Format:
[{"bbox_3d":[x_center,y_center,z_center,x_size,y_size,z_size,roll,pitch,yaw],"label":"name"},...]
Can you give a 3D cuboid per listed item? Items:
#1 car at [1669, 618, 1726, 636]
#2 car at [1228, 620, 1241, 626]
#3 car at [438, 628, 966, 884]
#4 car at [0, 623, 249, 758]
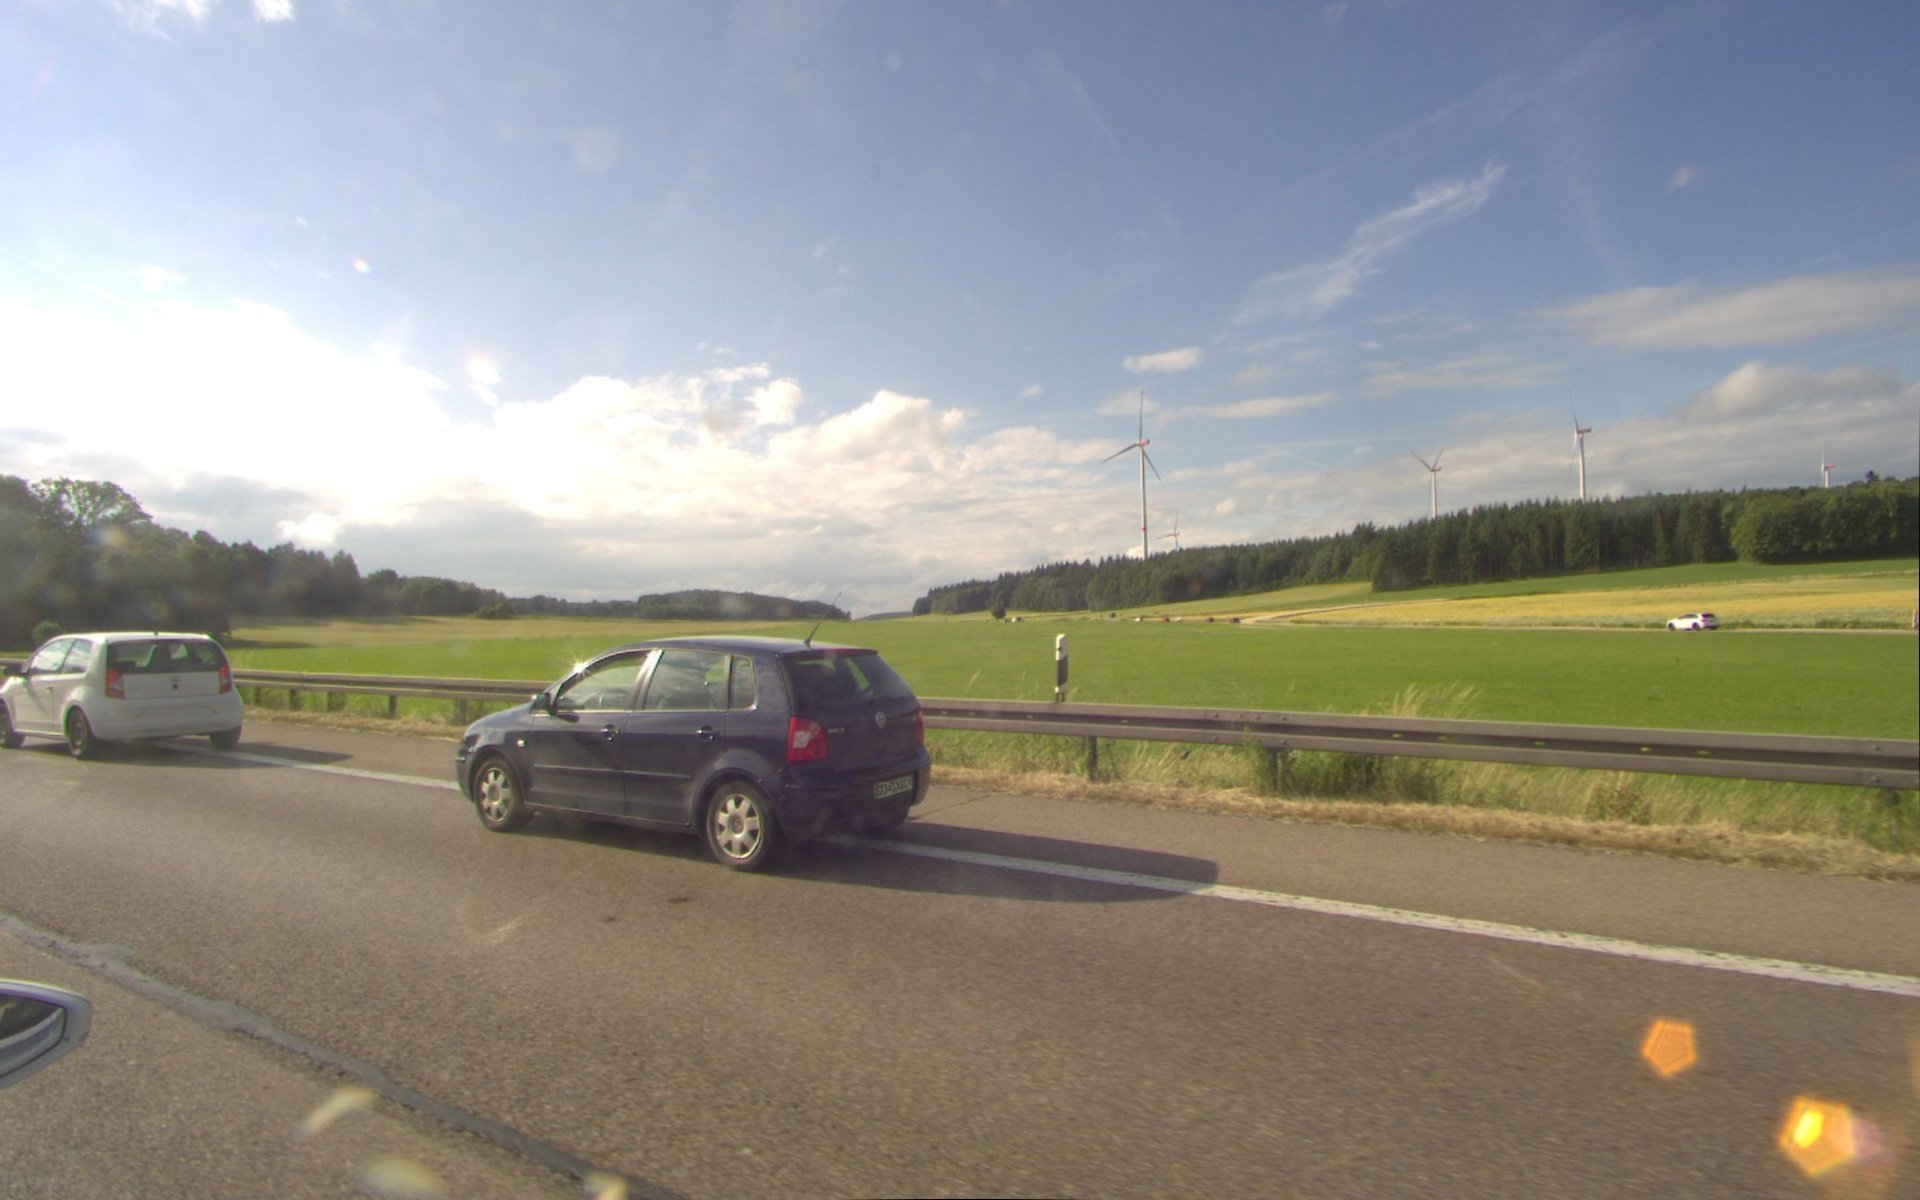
[{"bbox_3d":[67.623,2.489,91.878,1.962,1.638,3.999,0,-2,-10],"label":"car"},{"bbox_3d":[67.516,5.685,246.371,1.803,1.505,4.222,0,-2,-5],"label":"car"},{"bbox_3d":[-1.984,0.964,7.449,3.719,1.464,1.708,-2,-2,31],"label":"car"},{"bbox_3d":[-10.794,1.056,12.825,3.328,1.514,1.547,0,-1,31],"label":"car"}]
